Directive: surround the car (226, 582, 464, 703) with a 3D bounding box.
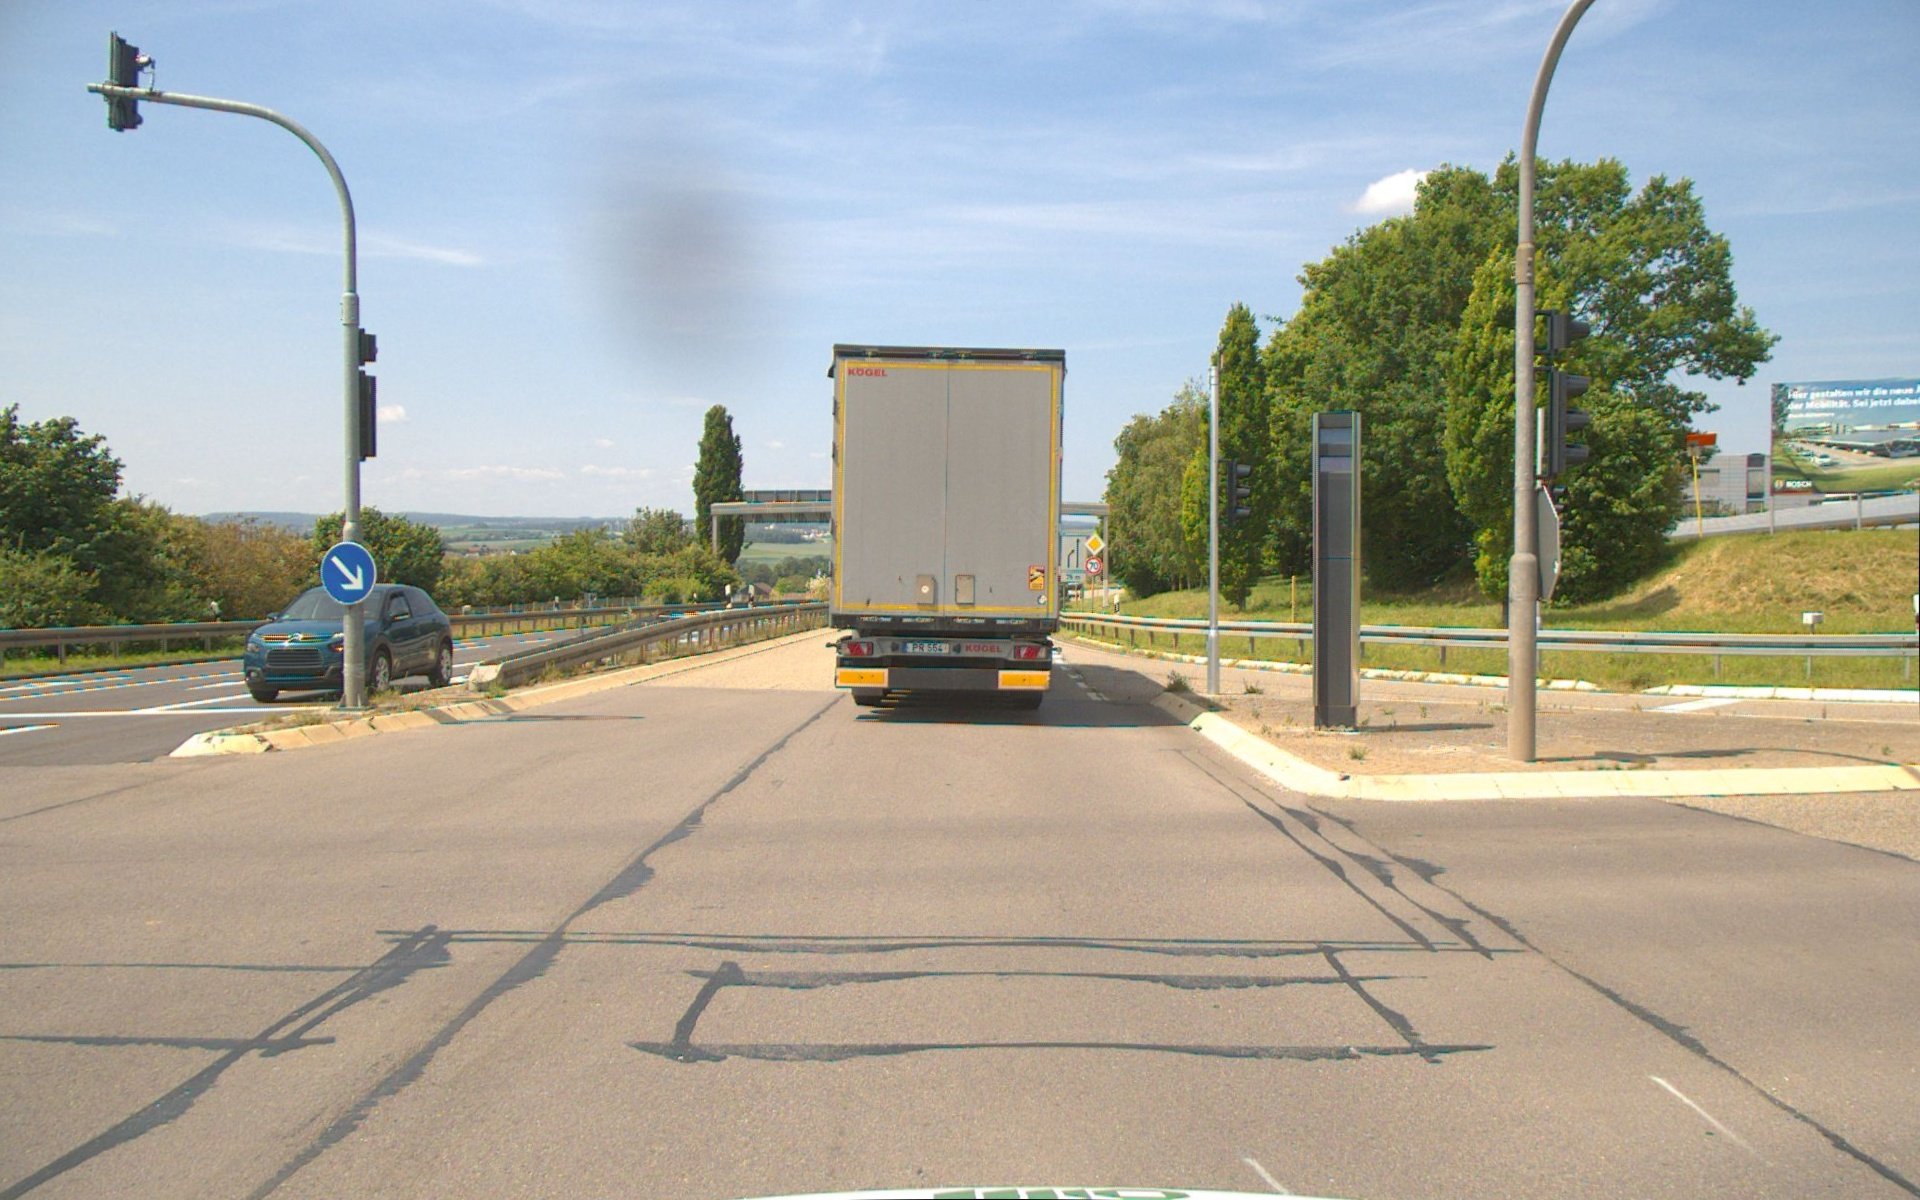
[{"bbox_3d":[-8.358,0.516,22.888,1.719,1.494,4.196,-1,0,0],"label":"car"}]

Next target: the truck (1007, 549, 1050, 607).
[{"bbox_3d":[4.878,-1.444,116.048,2.600,3.830,10.166,1,0,4],"label":"truck"}]

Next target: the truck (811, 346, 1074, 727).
[{"bbox_3d":[-0.404,-0.727,23.266,2.743,3.998,11.336,1,1,-2],"label":"truck"}]

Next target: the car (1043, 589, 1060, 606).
[{"bbox_3d":[9.472,-0.227,171.741,1.749,1.717,4.001,1,0,3],"label":"car"}]

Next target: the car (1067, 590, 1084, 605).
[{"bbox_3d":[13.302,-0.264,190.666,1.749,1.717,4.001,1,0,3],"label":"car"}]
